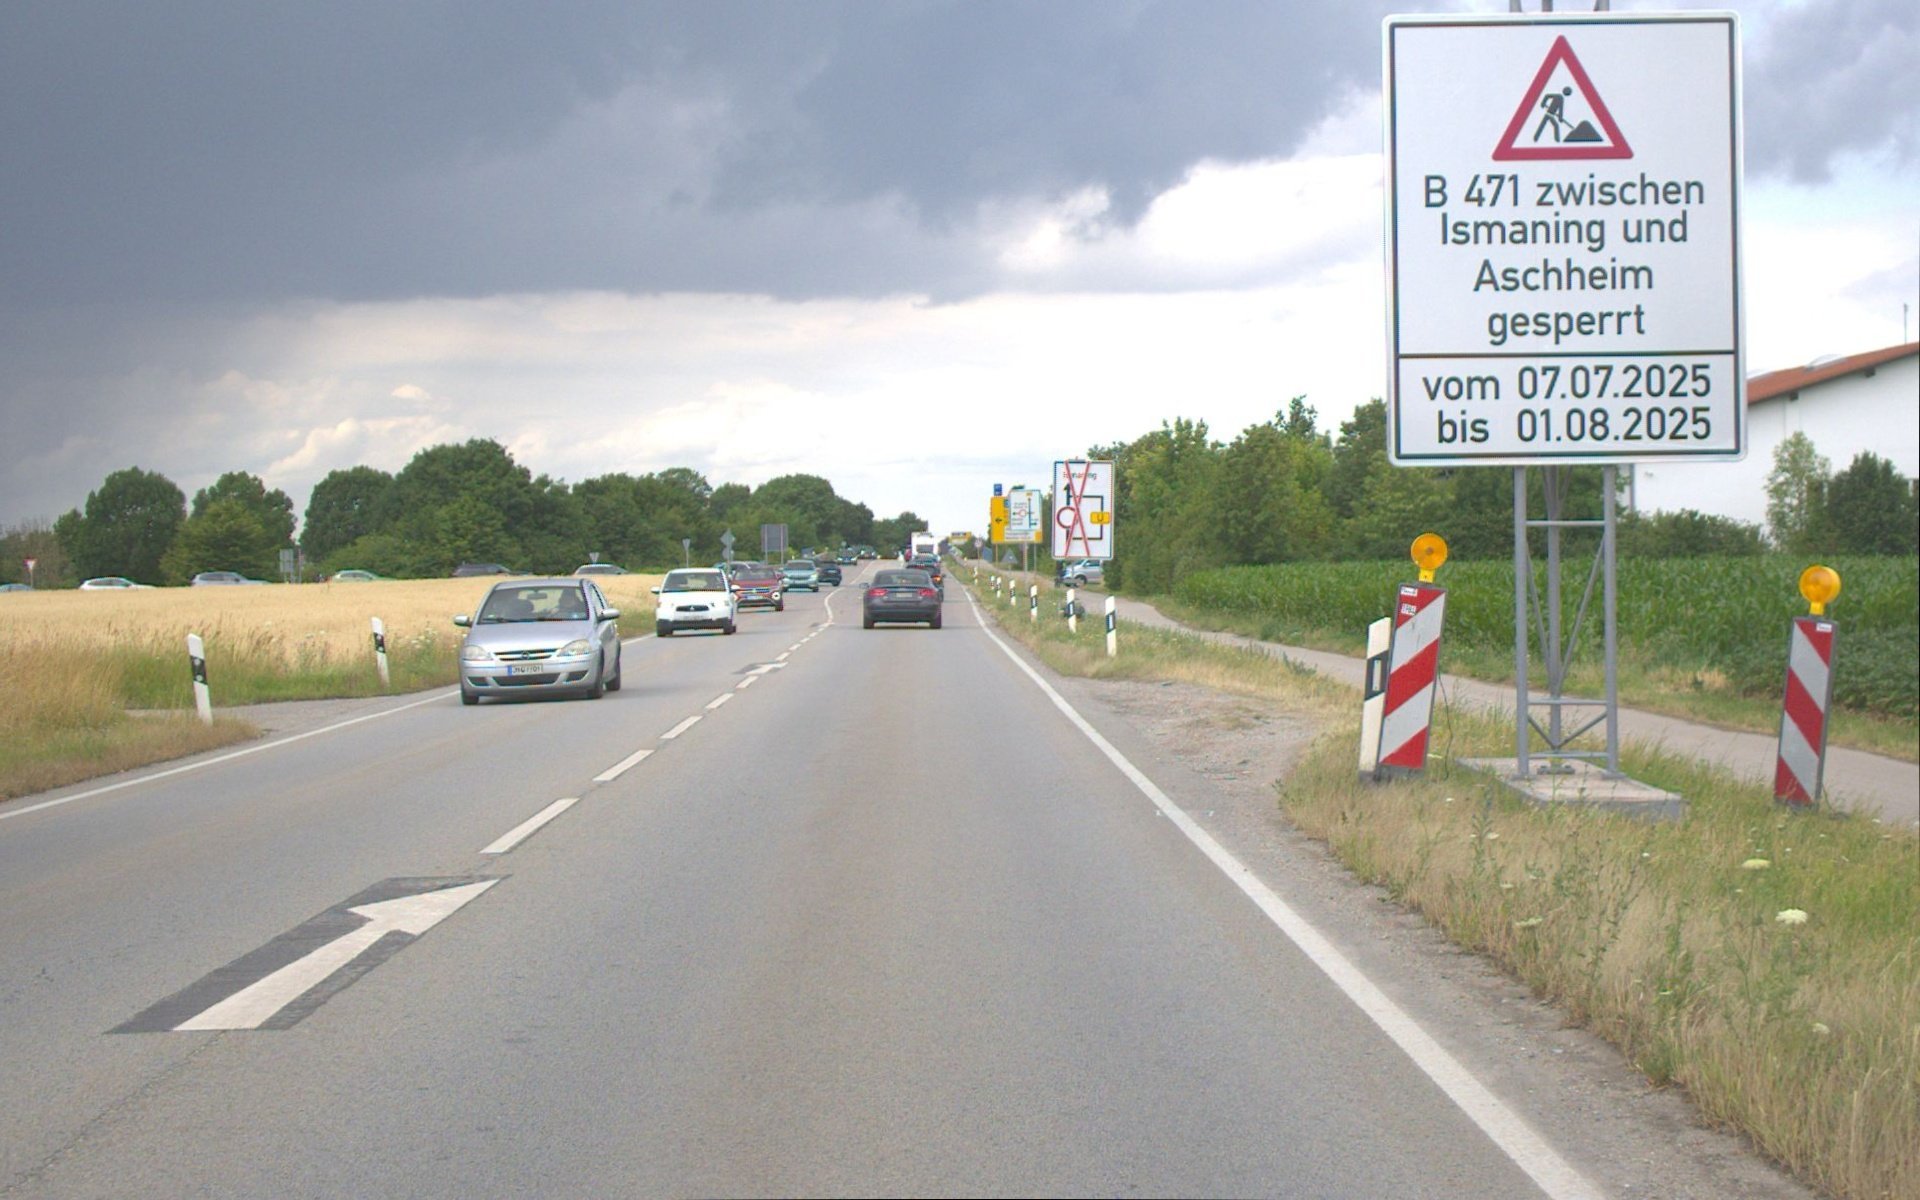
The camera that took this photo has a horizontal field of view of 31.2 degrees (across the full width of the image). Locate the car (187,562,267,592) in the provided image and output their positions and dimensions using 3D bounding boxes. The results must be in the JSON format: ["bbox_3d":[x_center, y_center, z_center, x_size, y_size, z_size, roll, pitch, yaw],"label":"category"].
[{"bbox_3d":[-41.901,-1.303,196.621,4.072,1.643,1.866,-1,1,4],"label":"car"}]

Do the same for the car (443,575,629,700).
[{"bbox_3d":[-4.967,0.407,40.679,1.728,1.359,3.950,-1,1,-1],"label":"car"}]

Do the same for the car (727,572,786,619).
[{"bbox_3d":[-6.829,-0.181,115.560,1.712,1.483,4.608,-1,1,-1],"label":"car"}]

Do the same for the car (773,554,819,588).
[{"bbox_3d":[-8.294,-1.480,174.143,2.065,1.575,4.765,-2,1,-1],"label":"car"}]

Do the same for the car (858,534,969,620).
[{"bbox_3d":[-1.133,-0.537,81.195,2.371,1.874,4.478,-3,1,-3],"label":"car"}]

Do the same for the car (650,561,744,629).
[{"bbox_3d":[-5.879,-0.137,77.137,1.806,1.451,4.114,-1,1,-1],"label":"car"}]
